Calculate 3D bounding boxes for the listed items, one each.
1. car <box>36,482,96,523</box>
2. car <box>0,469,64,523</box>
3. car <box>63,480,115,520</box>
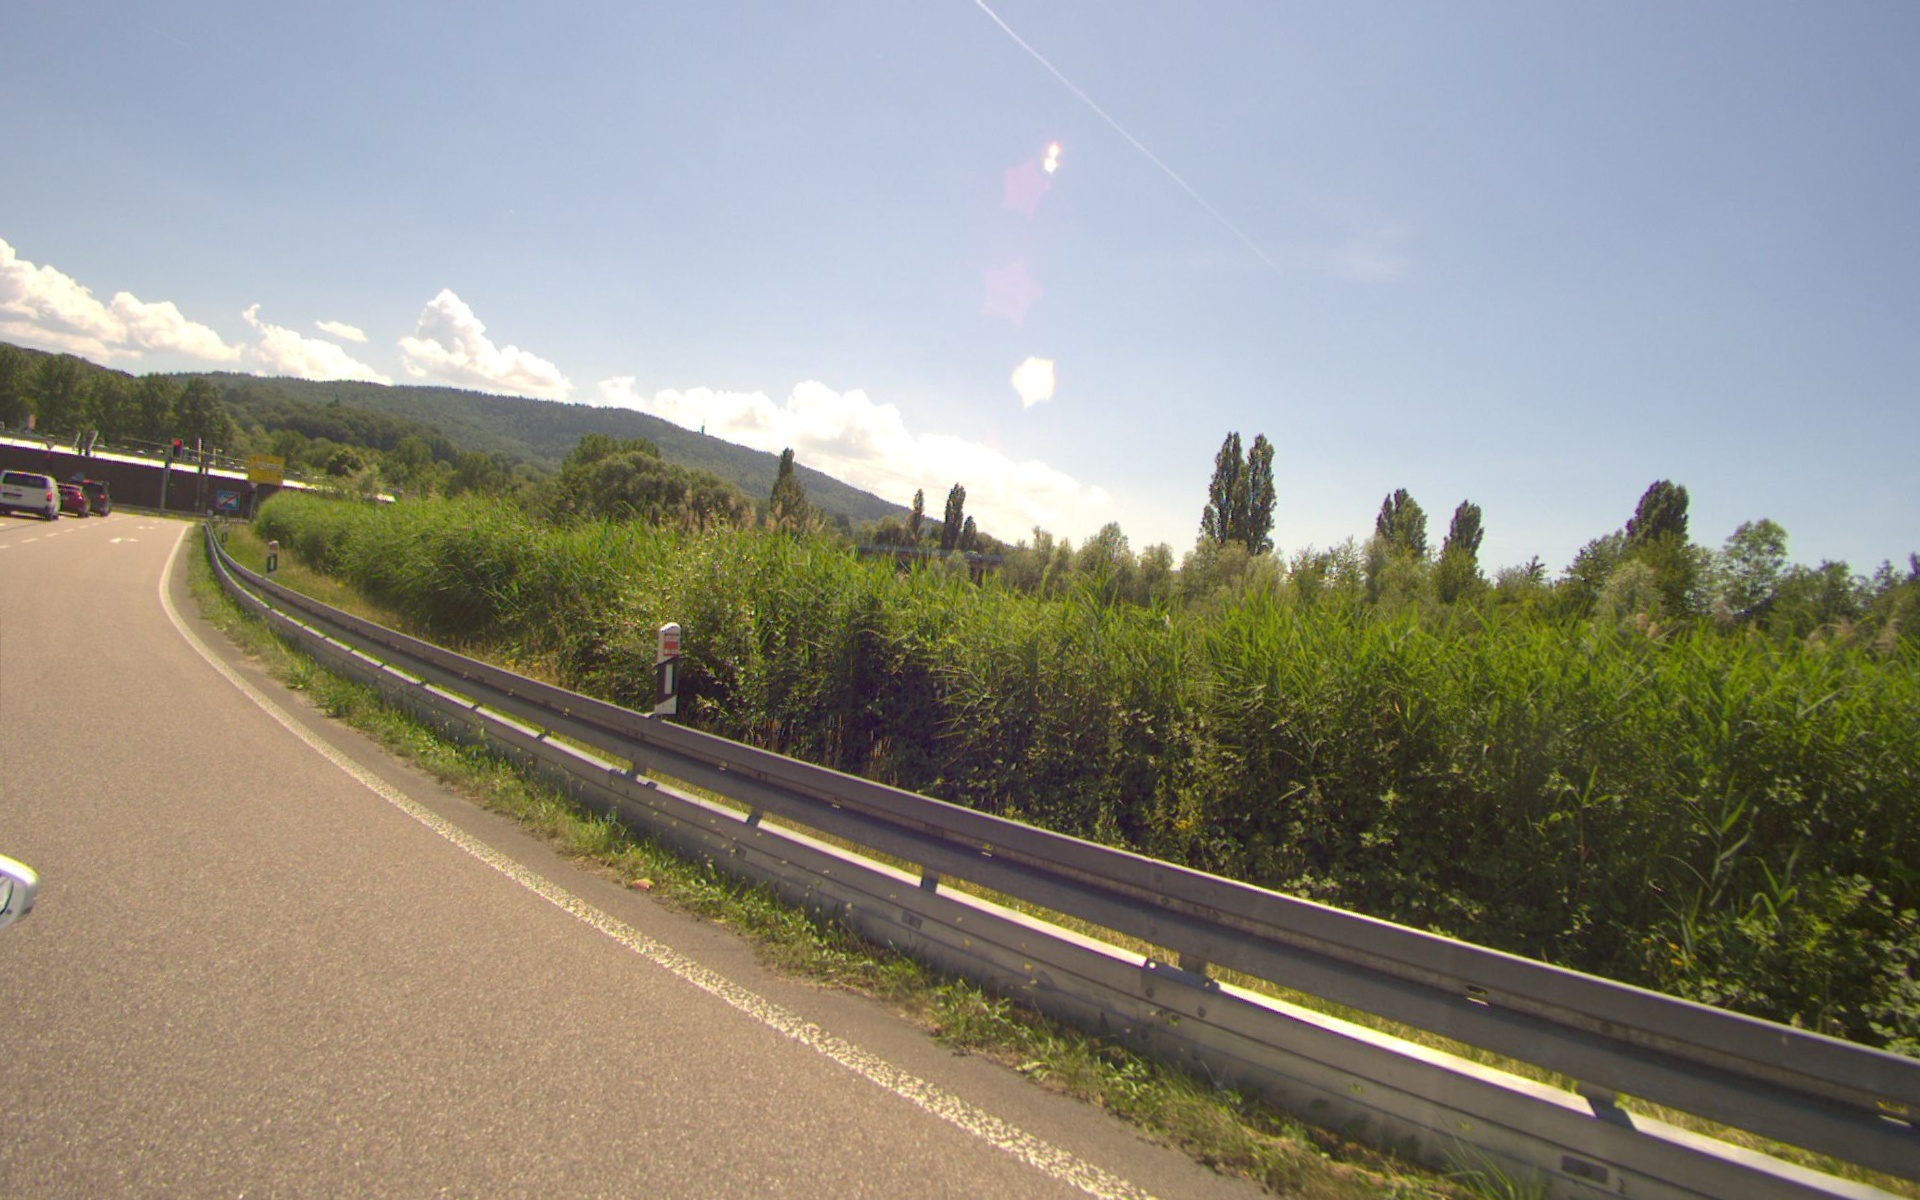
[{"bbox_3d":[-47.378,-5.132,53.388,1.982,1.835,3.958,5,1,-37],"label":"car"},{"bbox_3d":[-40.546,-4.512,43.774,1.861,1.988,3.958,8,0,-38],"label":"car"},{"bbox_3d":[-52.082,-5.938,60.193,1.982,2.039,3.958,5,1,-37],"label":"car"}]
